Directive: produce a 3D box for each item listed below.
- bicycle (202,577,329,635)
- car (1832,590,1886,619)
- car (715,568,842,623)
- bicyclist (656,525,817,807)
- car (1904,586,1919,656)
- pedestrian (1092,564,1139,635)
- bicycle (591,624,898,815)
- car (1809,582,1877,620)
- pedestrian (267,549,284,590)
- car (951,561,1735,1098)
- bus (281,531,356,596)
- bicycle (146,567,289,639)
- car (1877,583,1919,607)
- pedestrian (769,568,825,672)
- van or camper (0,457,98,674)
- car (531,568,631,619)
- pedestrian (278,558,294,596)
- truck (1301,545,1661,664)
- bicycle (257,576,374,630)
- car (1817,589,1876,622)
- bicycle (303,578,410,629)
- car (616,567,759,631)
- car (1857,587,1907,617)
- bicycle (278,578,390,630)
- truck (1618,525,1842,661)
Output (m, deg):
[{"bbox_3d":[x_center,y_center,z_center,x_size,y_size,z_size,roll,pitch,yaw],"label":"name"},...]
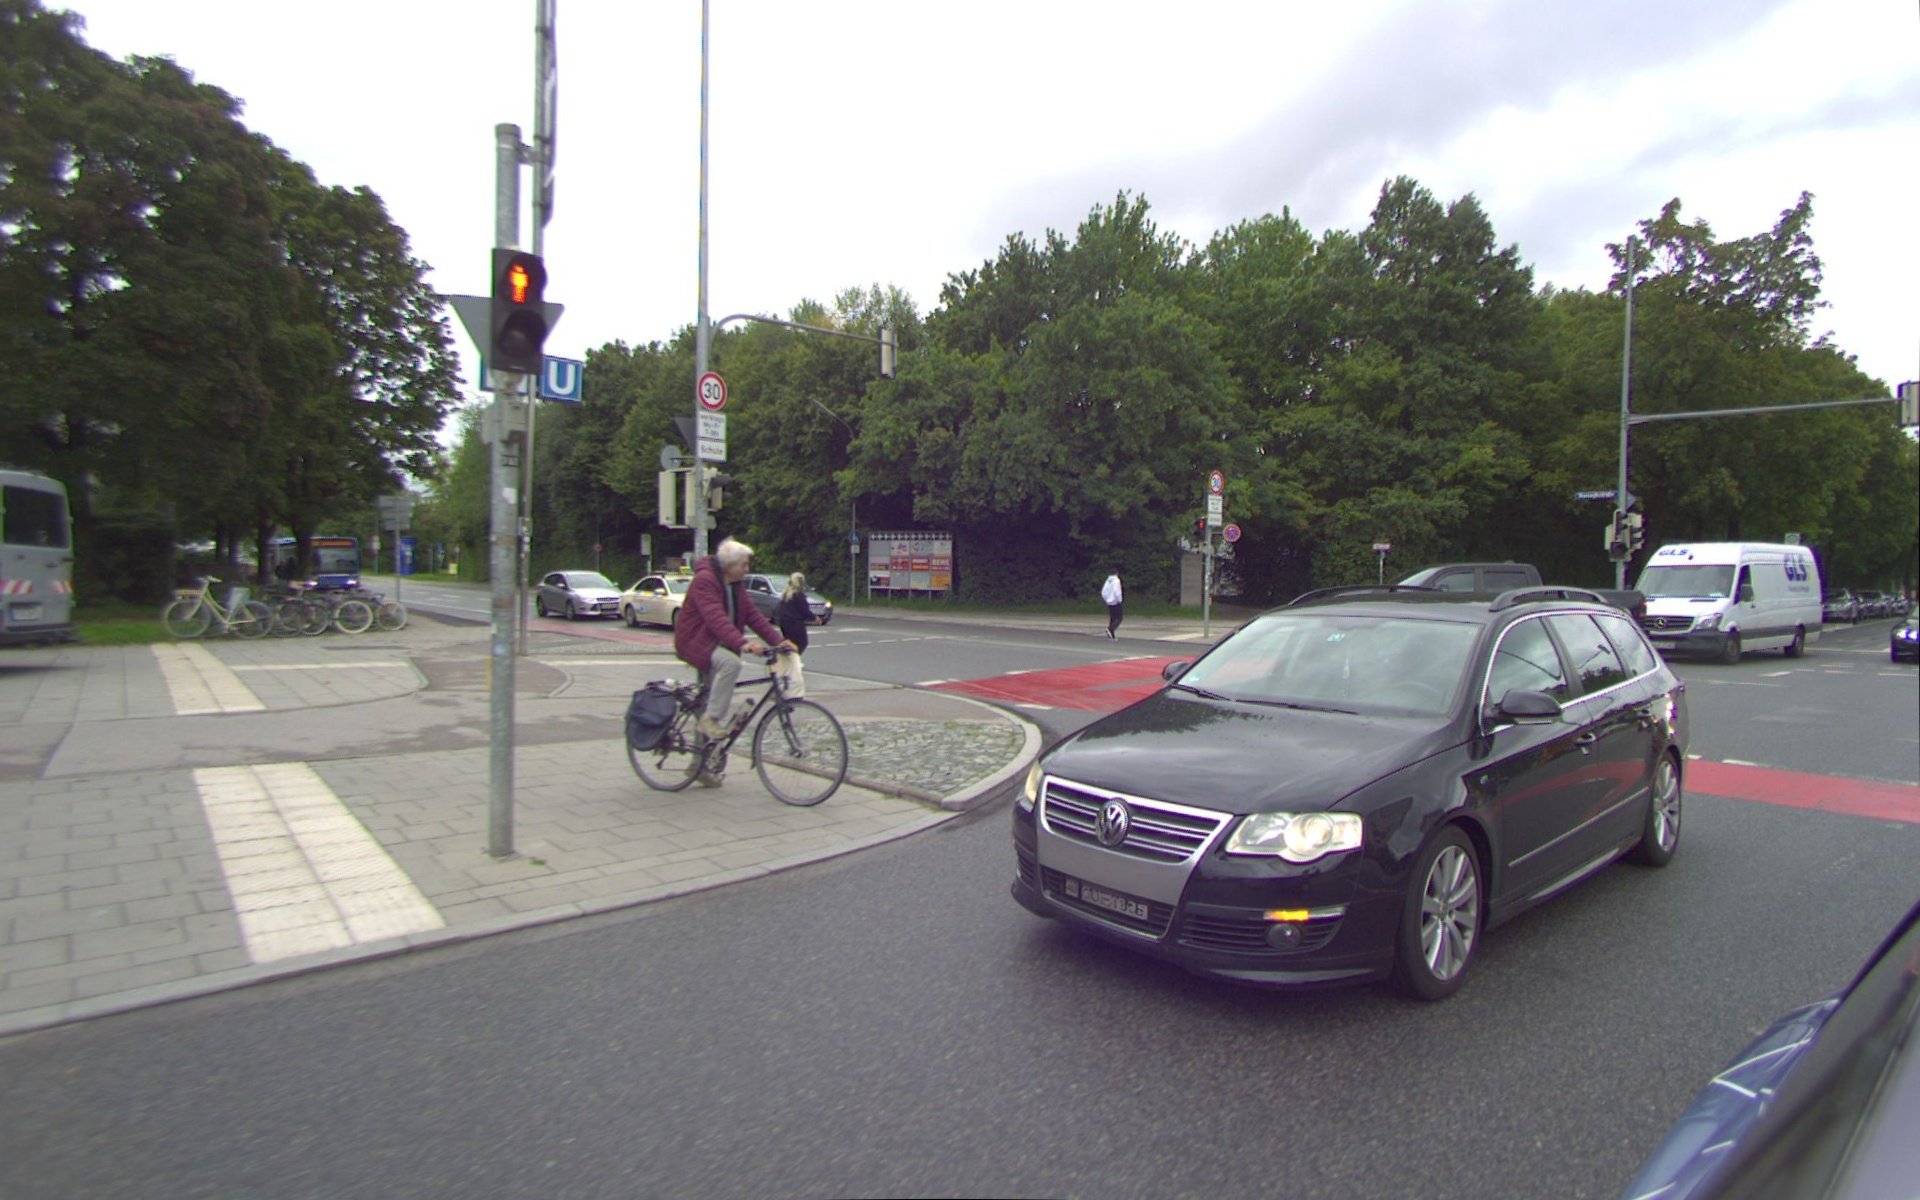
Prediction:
[{"bbox_3d":[-13.908,0.103,20.326,2.073,1.108,0.610,0,1,-33],"label":"bicycle"},{"bbox_3d":[48.857,0.227,54.962,4.183,1.446,1.750,0,2,-42],"label":"car"},{"bbox_3d":[-5.336,-0.175,29.496,3.935,1.472,1.603,2,2,42],"label":"car"},{"bbox_3d":[-1.505,0.404,6.899,0.816,1.786,0.743,1,1,14],"label":"bicyclist"},{"bbox_3d":[21.880,0.449,21.738,4.589,1.447,1.818,0,2,-41],"label":"car"},{"bbox_3d":[3.884,-0.017,25.262,0.758,1.724,0.926,2,2,40],"label":"pedestrian"},{"bbox_3d":[-1.449,0.757,6.884,1.919,1.094,0.744,1,1,15],"label":"bicycle"},{"bbox_3d":[41.335,0.016,47.345,4.322,1.670,1.882,0,2,-42],"label":"car"},{"bbox_3d":[-31.527,-1.395,46.605,0.595,1.849,0.708,0,1,-32],"label":"pedestrian"},{"bbox_3d":[2.242,0.604,5.014,4.592,1.493,1.750,0,1,-42],"label":"car"},{"bbox_3d":[-36.475,-2.092,57.310,2.682,3.322,11.889,0,2,-37],"label":"bus"},{"bbox_3d":[-13.791,0.029,18.878,0.695,1.266,2.098,2,2,23],"label":"bicycle"},{"bbox_3d":[60.725,-0.347,65.395,4.183,1.485,1.750,0,2,-42],"label":"car"},{"bbox_3d":[-2.539,0.293,15.723,0.722,1.557,0.694,0,1,-21],"label":"pedestrian"},{"bbox_3d":[-13.375,-0.420,10.733,6.069,2.325,2.153,0,1,-23],"label":"van or camper"},{"bbox_3d":[-11.943,-0.236,31.757,1.600,1.472,3.942,0,2,-43],"label":"car"},{"bbox_3d":[-32.710,-1.126,49.113,0.595,1.849,0.708,0,1,-30],"label":"pedestrian"},{"bbox_3d":[9.757,0.047,19.356,5.703,2.038,2.106,1,1,1],"label":"truck"},{"bbox_3d":[-13.658,0.053,21.516,2.072,1.108,0.610,0,1,-31],"label":"bicycle"},{"bbox_3d":[44.902,0.235,51.216,4.322,1.543,1.750,0,2,-42],"label":"car"},{"bbox_3d":[-13.798,0.066,23.157,2.073,1.108,0.610,0,1,-33],"label":"bicycle"},{"bbox_3d":[-7.303,-0.076,26.884,1.856,1.516,4.305,0,2,-43],"label":"car"},{"bbox_3d":[53.476,0.093,58.655,4.183,1.670,1.750,0,2,-42],"label":"car"},{"bbox_3d":[-13.805,0.076,22.357,2.073,1.108,0.610,0,1,-33],"label":"bicycle"},{"bbox_3d":[17.293,-0.184,22.547,7.091,2.636,2.000,0,1,-36],"label":"truck"}]
